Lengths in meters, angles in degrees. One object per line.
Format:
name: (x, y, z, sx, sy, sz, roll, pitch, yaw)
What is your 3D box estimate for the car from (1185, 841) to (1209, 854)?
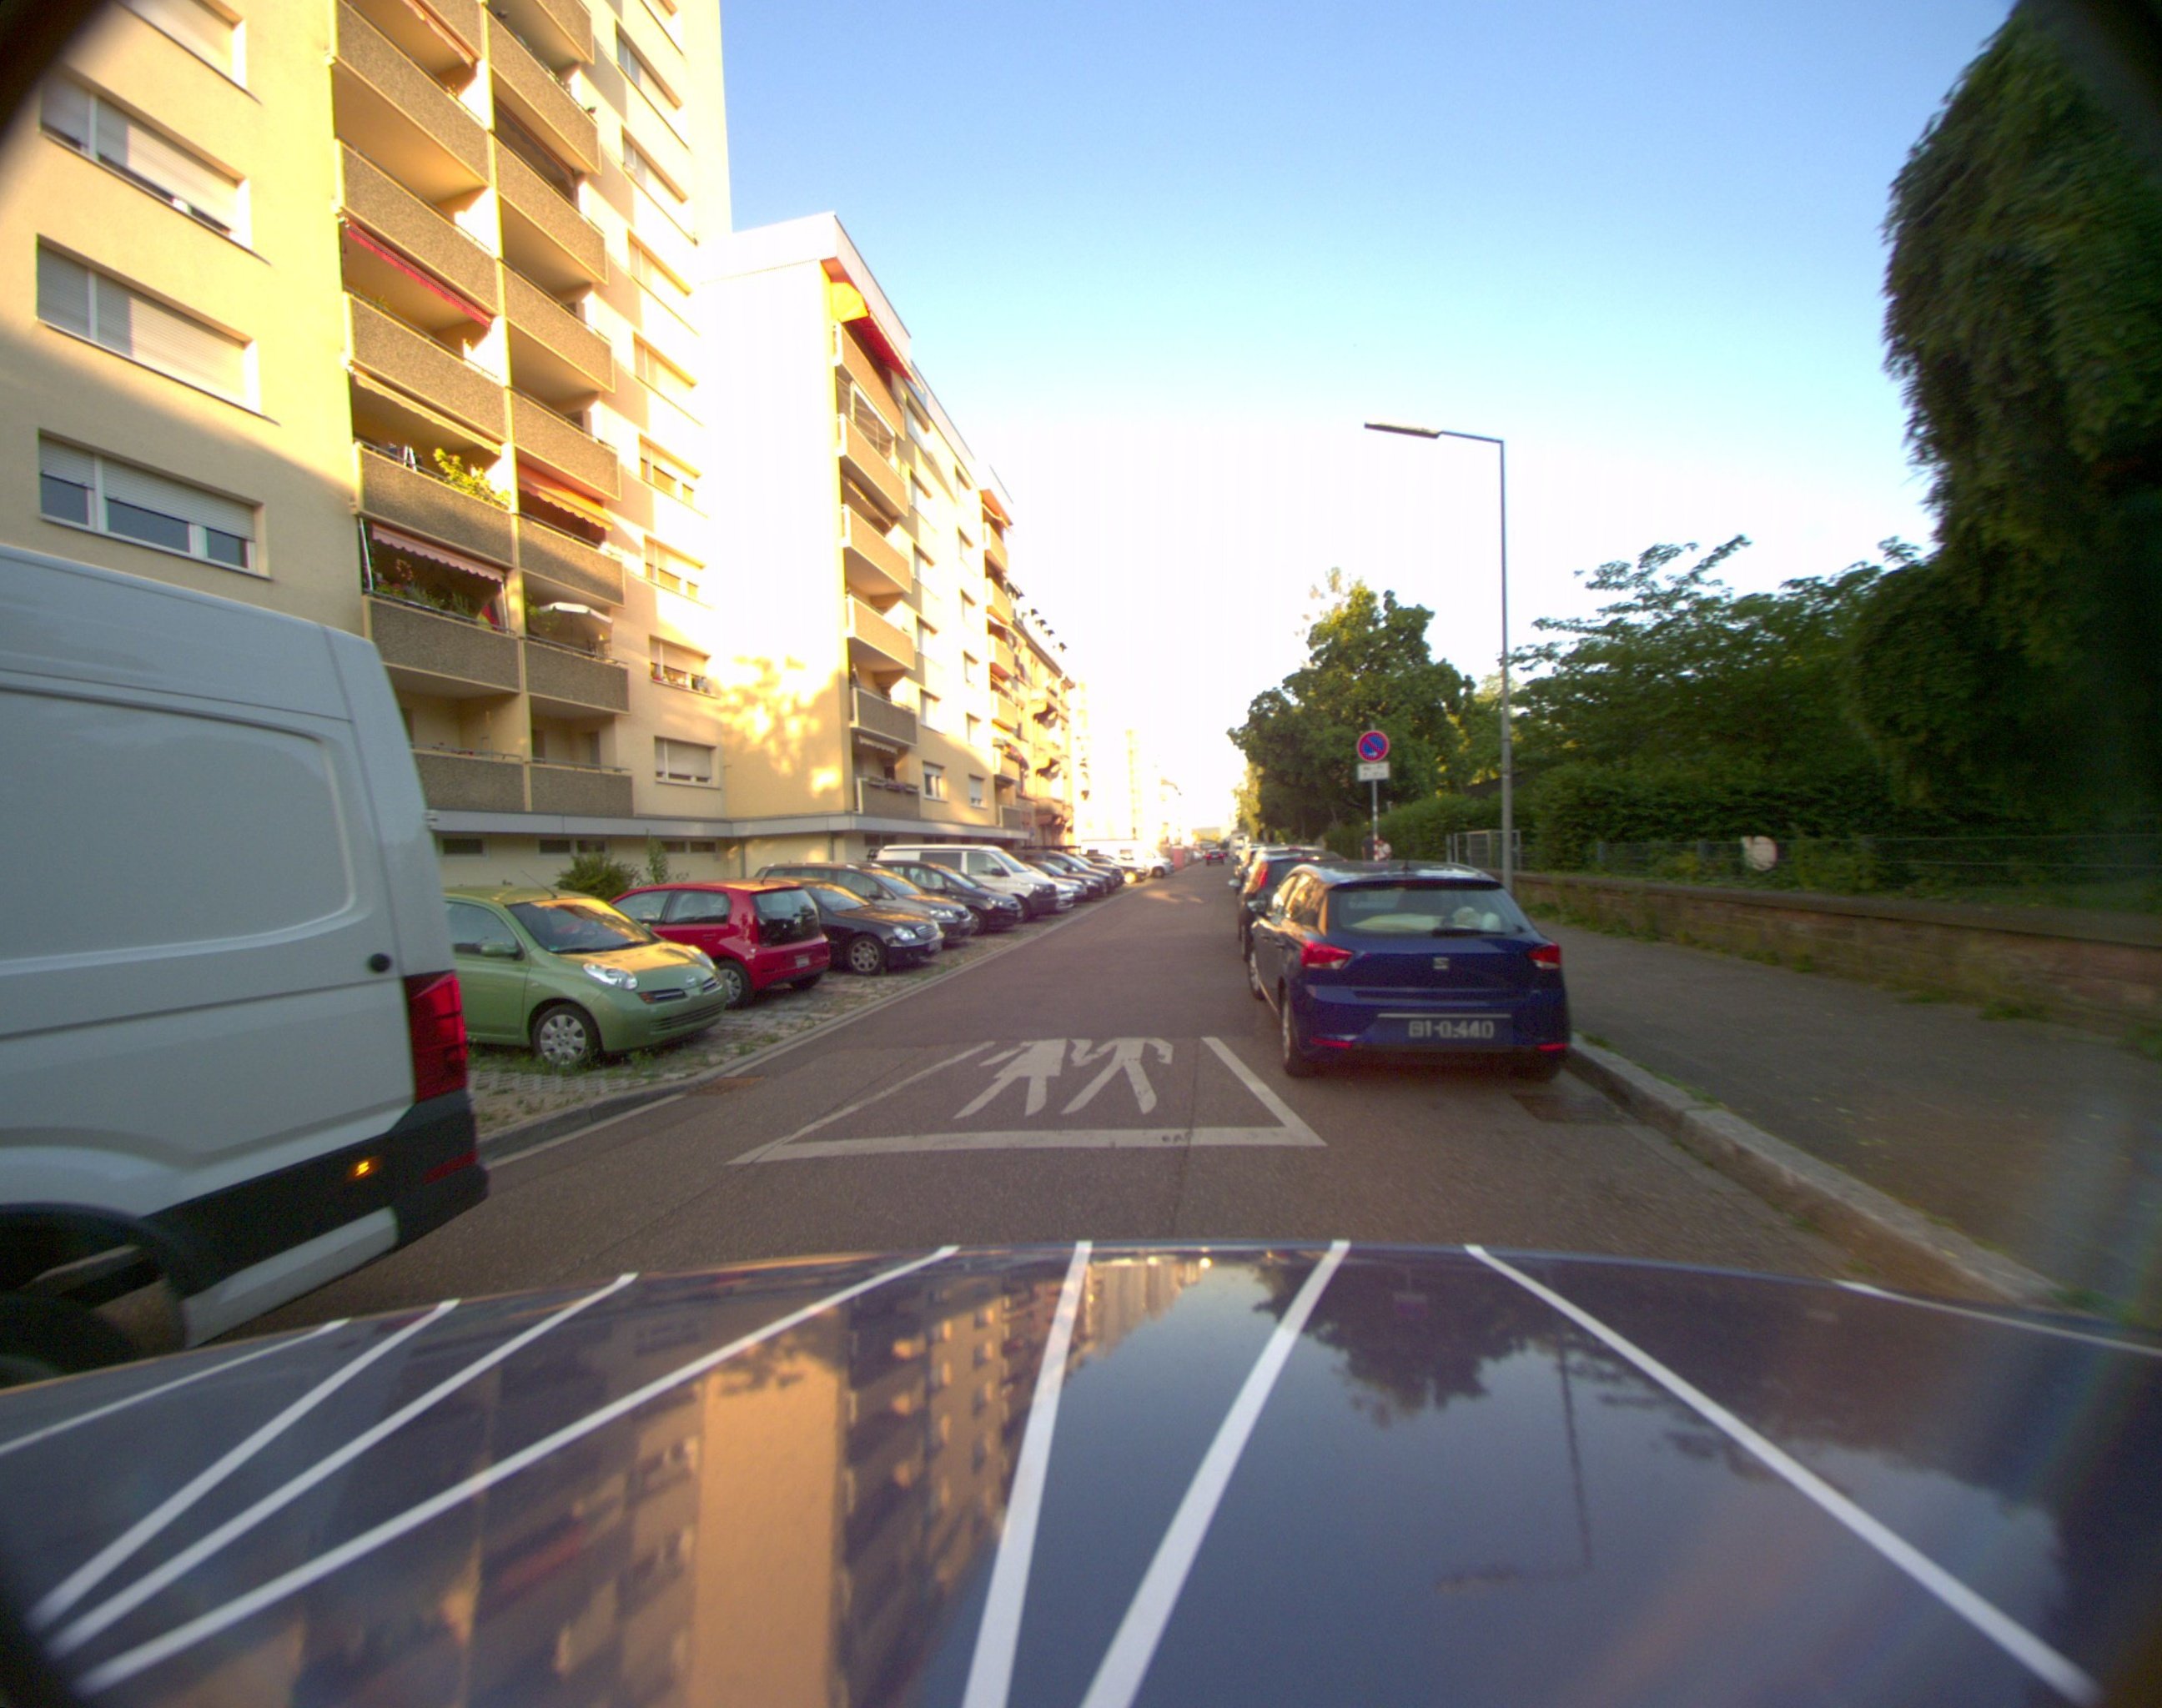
car: (20.356, -1.213, 132.994, 3.994, 2.002, 2.001, -4, 0, 11)

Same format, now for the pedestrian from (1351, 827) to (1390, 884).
pedestrian: (9.354, 0.050, 24.585, 0.900, 1.722, 0.751, -6, 0, 10)

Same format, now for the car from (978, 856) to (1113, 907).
car: (-1.229, 0.957, 27.031, 4.411, 1.554, 1.846, -2, 3, 11)

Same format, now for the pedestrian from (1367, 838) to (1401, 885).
pedestrian: (10.219, 0.239, 25.633, 0.749, 1.499, 0.902, -6, 0, 10)

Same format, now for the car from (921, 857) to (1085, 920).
car: (-2.254, 0.999, 22.452, 4.411, 1.622, 1.846, -2, 3, 11)

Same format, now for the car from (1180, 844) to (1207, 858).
car: (17.607, -0.504, 119.054, 3.994, 2.002, 2.001, -4, 0, 11)

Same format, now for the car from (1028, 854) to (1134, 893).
car: (0.023, 0.890, 34.483, 4.410, 1.545, 1.847, -2, 3, 13)

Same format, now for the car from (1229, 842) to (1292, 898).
car: (6.118, 0.499, 26.323, 1.737, 1.720, 4.325, -2, 0, 9)

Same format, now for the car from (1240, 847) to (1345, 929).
car: (4.600, 0.661, 17.031, 1.737, 1.558, 4.132, -2, 0, 9)

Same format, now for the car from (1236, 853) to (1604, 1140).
car: (2.275, 0.810, 6.175, 1.737, 1.558, 3.793, -2, 0, 8)

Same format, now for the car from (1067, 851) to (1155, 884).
car: (1.658, 0.713, 40.996, 4.410, 1.545, 1.846, -2, 3, 12)

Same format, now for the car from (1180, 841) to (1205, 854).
car: (19.046, -1.083, 130.033, 3.994, 2.002, 2.001, -4, 0, 11)

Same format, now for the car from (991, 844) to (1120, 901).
car: (-0.955, 0.722, 29.536, 4.644, 1.970, 1.846, -2, 3, 11)

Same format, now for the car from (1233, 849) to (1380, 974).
car: (3.226, 0.736, 11.505, 1.736, 1.558, 3.700, -2, 0, 11)

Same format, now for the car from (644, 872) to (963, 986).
car: (-4.345, 1.176, 12.244, 4.411, 1.523, 1.846, -2, 3, 9)

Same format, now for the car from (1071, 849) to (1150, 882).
car: (1.811, 0.687, 46.174, 4.410, 1.610, 1.846, -4, 2, 13)

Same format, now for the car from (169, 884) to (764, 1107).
car: (-5.639, 1.233, 7.263, 4.411, 1.622, 1.846, -2, 3, 9)

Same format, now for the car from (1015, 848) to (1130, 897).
car: (-0.308, 0.758, 32.041, 4.520, 1.852, 1.847, -2, 1, 11)

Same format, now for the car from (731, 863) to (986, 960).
car: (-4.282, 1.074, 14.997, 4.411, 1.652, 1.846, 0, 3, 9)

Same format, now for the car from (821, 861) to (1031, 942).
car: (-3.471, 1.044, 17.431, 4.333, 1.652, 1.782, 0, 3, 9)

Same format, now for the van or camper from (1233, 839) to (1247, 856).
van or camper: (23.497, -1.022, 112.182, 1.823, 2.400, 4.294, -2, 0, 10)

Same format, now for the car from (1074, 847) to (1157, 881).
car: (1.987, 0.595, 43.553, 4.409, 1.739, 1.847, -2, 3, 15)

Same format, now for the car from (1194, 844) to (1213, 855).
car: (26.434, -0.982, 164.138, 3.994, 2.002, 2.001, -4, 0, 11)

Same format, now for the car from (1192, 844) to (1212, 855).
car: (25.786, -0.927, 161.791, 3.994, 2.002, 2.001, -4, 0, 11)

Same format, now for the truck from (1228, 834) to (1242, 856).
truck: (28.187, -1.670, 138.841, 2.181, 3.860, 4.930, -4, 0, 11)

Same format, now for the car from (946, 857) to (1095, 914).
car: (-1.917, 0.992, 24.609, 4.411, 1.584, 1.846, -2, 3, 11)

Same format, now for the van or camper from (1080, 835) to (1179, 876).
van or camper: (3.158, 0.103, 48.807, 6.069, 2.490, 2.052, -1, 1, 11)

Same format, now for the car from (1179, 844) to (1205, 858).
car: (17.755, -0.524, 121.625, 3.994, 2.002, 2.001, -4, 0, 11)

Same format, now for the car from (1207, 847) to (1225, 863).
car: (14.448, 0.096, 81.314, 1.736, 1.622, 4.129, -2, 0, 11)

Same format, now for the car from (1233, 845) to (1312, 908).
car: (5.303, 0.556, 21.506, 1.737, 1.558, 4.170, -2, 0, 9)

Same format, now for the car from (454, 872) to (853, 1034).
car: (-5.430, 1.133, 9.831, 4.409, 1.622, 1.847, 1, 1, 14)

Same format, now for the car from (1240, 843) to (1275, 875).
car: (9.683, 0.265, 41.876, 1.736, 1.622, 3.984, -2, 0, 12)

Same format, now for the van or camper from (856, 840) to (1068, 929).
van or camper: (-3.052, 0.729, 20.090, 5.141, 2.155, 2.041, 0, 2, 9)
